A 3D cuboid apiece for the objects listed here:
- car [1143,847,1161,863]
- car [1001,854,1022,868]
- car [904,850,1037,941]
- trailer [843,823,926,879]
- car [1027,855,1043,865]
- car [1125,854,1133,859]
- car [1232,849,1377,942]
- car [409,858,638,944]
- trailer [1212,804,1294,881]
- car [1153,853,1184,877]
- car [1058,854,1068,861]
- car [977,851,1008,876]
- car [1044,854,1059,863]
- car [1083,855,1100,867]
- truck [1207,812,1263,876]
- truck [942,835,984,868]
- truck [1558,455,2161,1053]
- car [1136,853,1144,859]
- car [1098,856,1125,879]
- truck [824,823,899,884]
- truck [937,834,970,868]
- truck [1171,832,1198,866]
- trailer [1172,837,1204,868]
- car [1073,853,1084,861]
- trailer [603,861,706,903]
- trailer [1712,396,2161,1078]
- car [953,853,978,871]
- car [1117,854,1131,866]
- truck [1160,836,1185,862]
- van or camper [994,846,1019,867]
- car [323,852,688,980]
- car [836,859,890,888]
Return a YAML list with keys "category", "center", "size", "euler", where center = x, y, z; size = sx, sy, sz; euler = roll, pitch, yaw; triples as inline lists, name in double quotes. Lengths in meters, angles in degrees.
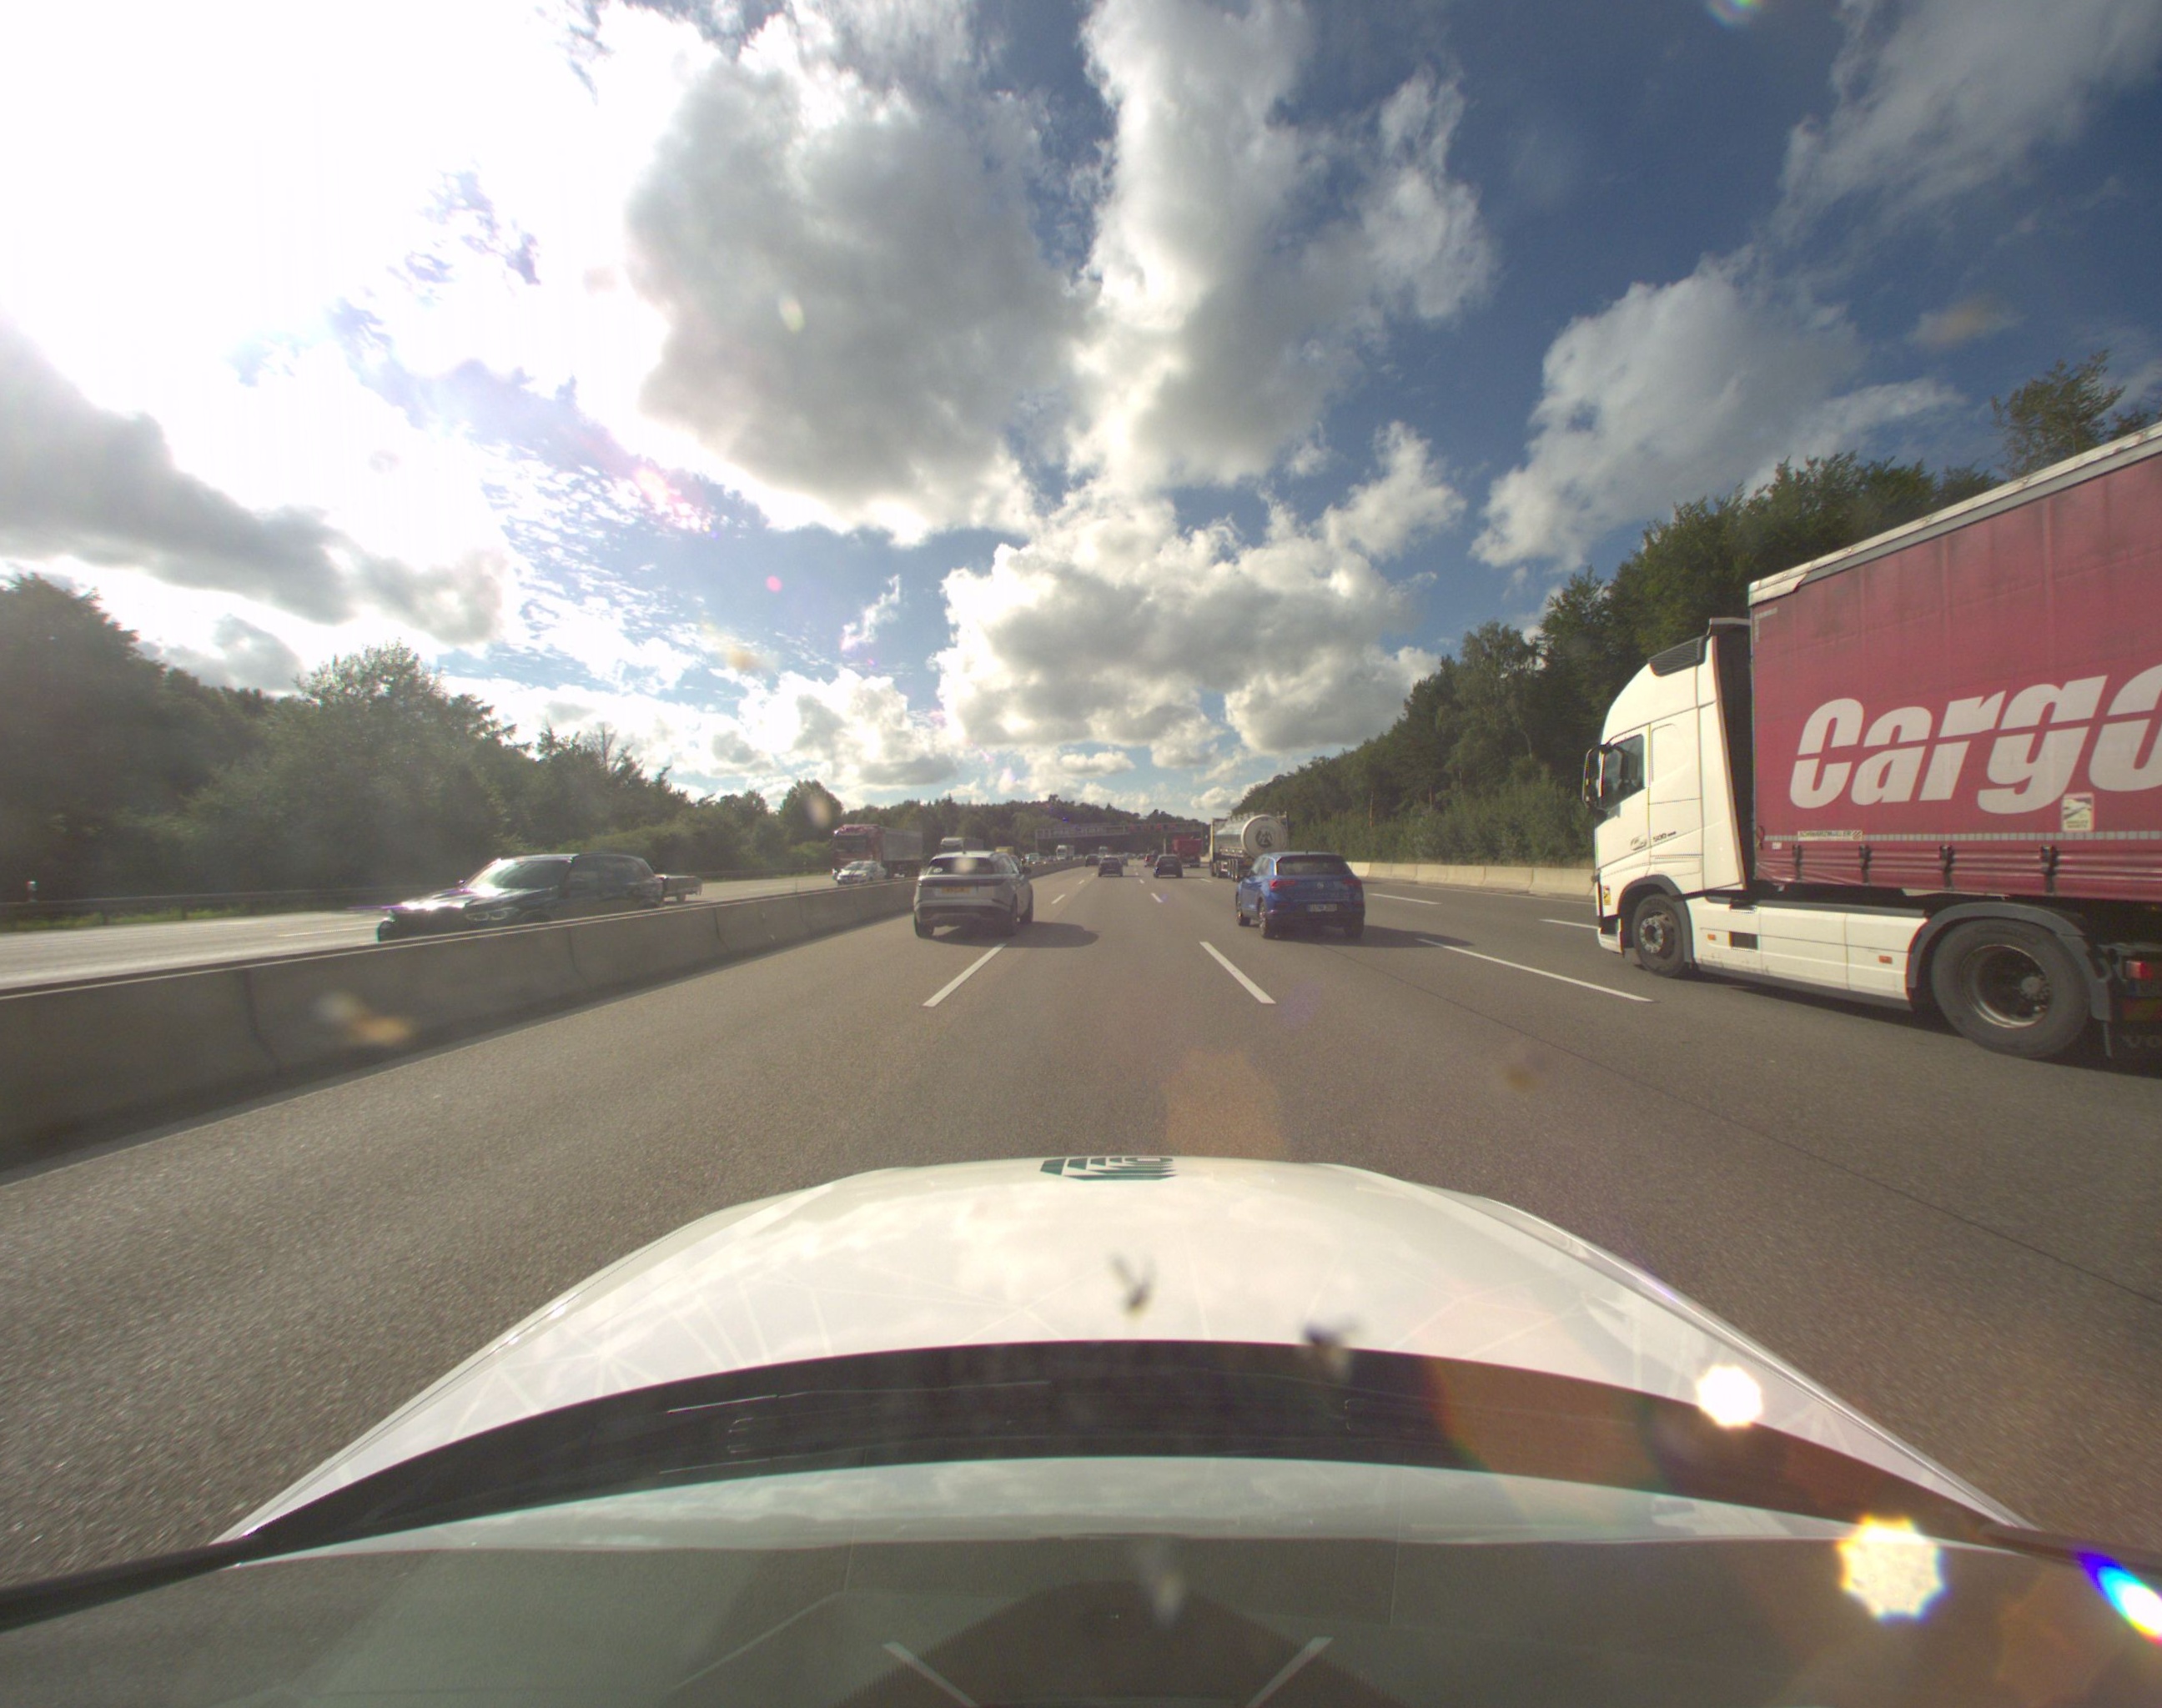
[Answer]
- category: "car"
  center: [8.336, 0.141, 96.175]
  size: [1.887, 1.857, 4.101]
  euler: [0, 0, 1]
- category: "car"
  center: [-8.581, 0.860, 101.011]
  size: [1.836, 1.596, 4.918]
  euler: [-2, 0, 4]
- category: "car"
  center: [-2.130, 0.751, 17.311]
  size: [1.999, 1.616, 5.302]
  euler: [-1, 0, 1]
- category: "trailer"
  center: [-14.725, -0.225, 62.203]
  size: [2.954, 3.858, 11.290]
  euler: [-1, 0, 3]
- category: "car"
  center: [-6.847, 0.842, 121.290]
  size: [1.776, 1.470, 4.335]
  euler: [-1, 0, 4]
- category: "car"
  center: [13.073, 0.641, 223.339]
  size: [2.068, 1.457, 4.004]
  euler: [-3, 0, 3]
- category: "car"
  center: [4.146, 0.688, 15.845]
  size: [1.766, 1.530, 4.460]
  euler: [-1, 0, 2]
- category: "car"
  center: [-12.579, 0.967, 18.862]
  size: [1.987, 1.664, 4.688]
  euler: [-1, 0, 1]
- category: "trailer"
  center: [9.553, -0.575, 46.553]
  size: [2.638, 3.767, 11.868]
  euler: [-2, 0, 3]
- category: "car"
  center: [5.730, 0.710, 53.570]
  size: [1.814, 1.457, 4.003]
  euler: [-1, 0, 3]
- category: "car"
  center: [-3.918, 0.781, 178.844]
  size: [1.762, 1.394, 4.694]
  euler: [-1, 0, 3]
- category: "car"
  center: [-7.258, 0.754, 67.060]
  size: [1.842, 1.878, 4.616]
  euler: [-2, 0, 1]
- category: "car"
  center: [-5.235, 0.831, 145.652]
  size: [2.161, 1.470, 4.792]
  euler: [-1, 0, 5]
- category: "car"
  center: [1.397, 0.848, 105.896]
  size: [1.933, 1.457, 4.005]
  euler: [-3, 0, 4]
- category: "truck"
  center: [9.850, -0.639, 52.724]
  size: [2.638, 3.823, 6.086]
  euler: [-2, 0, 3]
- category: "truck"
  center: [-15.899, -0.320, 111.196]
  size: [2.807, 4.094, 13.858]
  euler: [-1, 0, 4]
- category: "truck"
  center: [7.952, -0.700, 8.404]
  size: [2.763, 4.045, 5.775]
  euler: [-1, 0, 2]
- category: "car"
  center: [15.539, 0.559, 213.225]
  size: [2.067, 1.457, 4.005]
  euler: [-3, 0, 4]
- category: "car"
  center: [2.163, 0.911, 58.075]
  size: [1.815, 1.546, 4.002]
  euler: [-1, 0, 2]
- category: "truck"
  center: [-15.018, -0.032, 56.314]
  size: [2.955, 3.858, 6.770]
  euler: [-1, 0, 3]
- category: "truck"
  center: [-16.315, -0.377, 104.396]
  size: [2.807, 4.094, 6.067]
  euler: [-1, 0, 3]
- category: "truck"
  center: [11.964, -0.592, 94.696]
  size: [2.698, 3.718, 5.823]
  euler: [-1, 0, 3]
- category: "trailer"
  center: [11.723, -0.217, 89.942]
  size: [2.698, 3.231, 9.741]
  euler: [-1, 0, 3]
- category: "car"
  center: [-0.463, 0.693, 166.024]
  size: [1.855, 1.552, 4.665]
  euler: [-1, 0, 3]
- category: "trailer"
  center: [-16.207, 1.022, 31.190]
  size: [1.528, 1.402, 4.183]
  euler: [-1, 0, 3]
- category: "trailer"
  center: [7.706, -0.705, 1.514]
  size: [2.763, 4.045, 13.719]
  euler: [-1, 0, 2]
- category: "car"
  center: [-12.715, 0.830, 89.766]
  size: [1.840, 1.940, 5.036]
  euler: [-1, 0, 2]
- category: "car"
  center: [5.782, 0.788, 108.630]
  size: [1.815, 1.457, 4.003]
  euler: [-1, -1, 3]
- category: "truck"
  center: [14.512, -0.811, 129.929]
  size: [3.107, 3.935, 10.414]
  euler: [-1, 0, 1]
- category: "van or camper"
  center: [-10.810, 0.315, 118.450]
  size: [2.363, 2.891, 6.514]
  euler: [-2, 0, 4]
- category: "car"
  center: [-9.106, 0.844, 13.726]
  size: [2.146, 1.700, 5.354]
  euler: [-1, 0, 3]
- category: "car"
  center: [-11.665, 1.011, 43.841]
  size: [1.596, 1.403, 4.003]
  euler: [-1, 0, 3]
